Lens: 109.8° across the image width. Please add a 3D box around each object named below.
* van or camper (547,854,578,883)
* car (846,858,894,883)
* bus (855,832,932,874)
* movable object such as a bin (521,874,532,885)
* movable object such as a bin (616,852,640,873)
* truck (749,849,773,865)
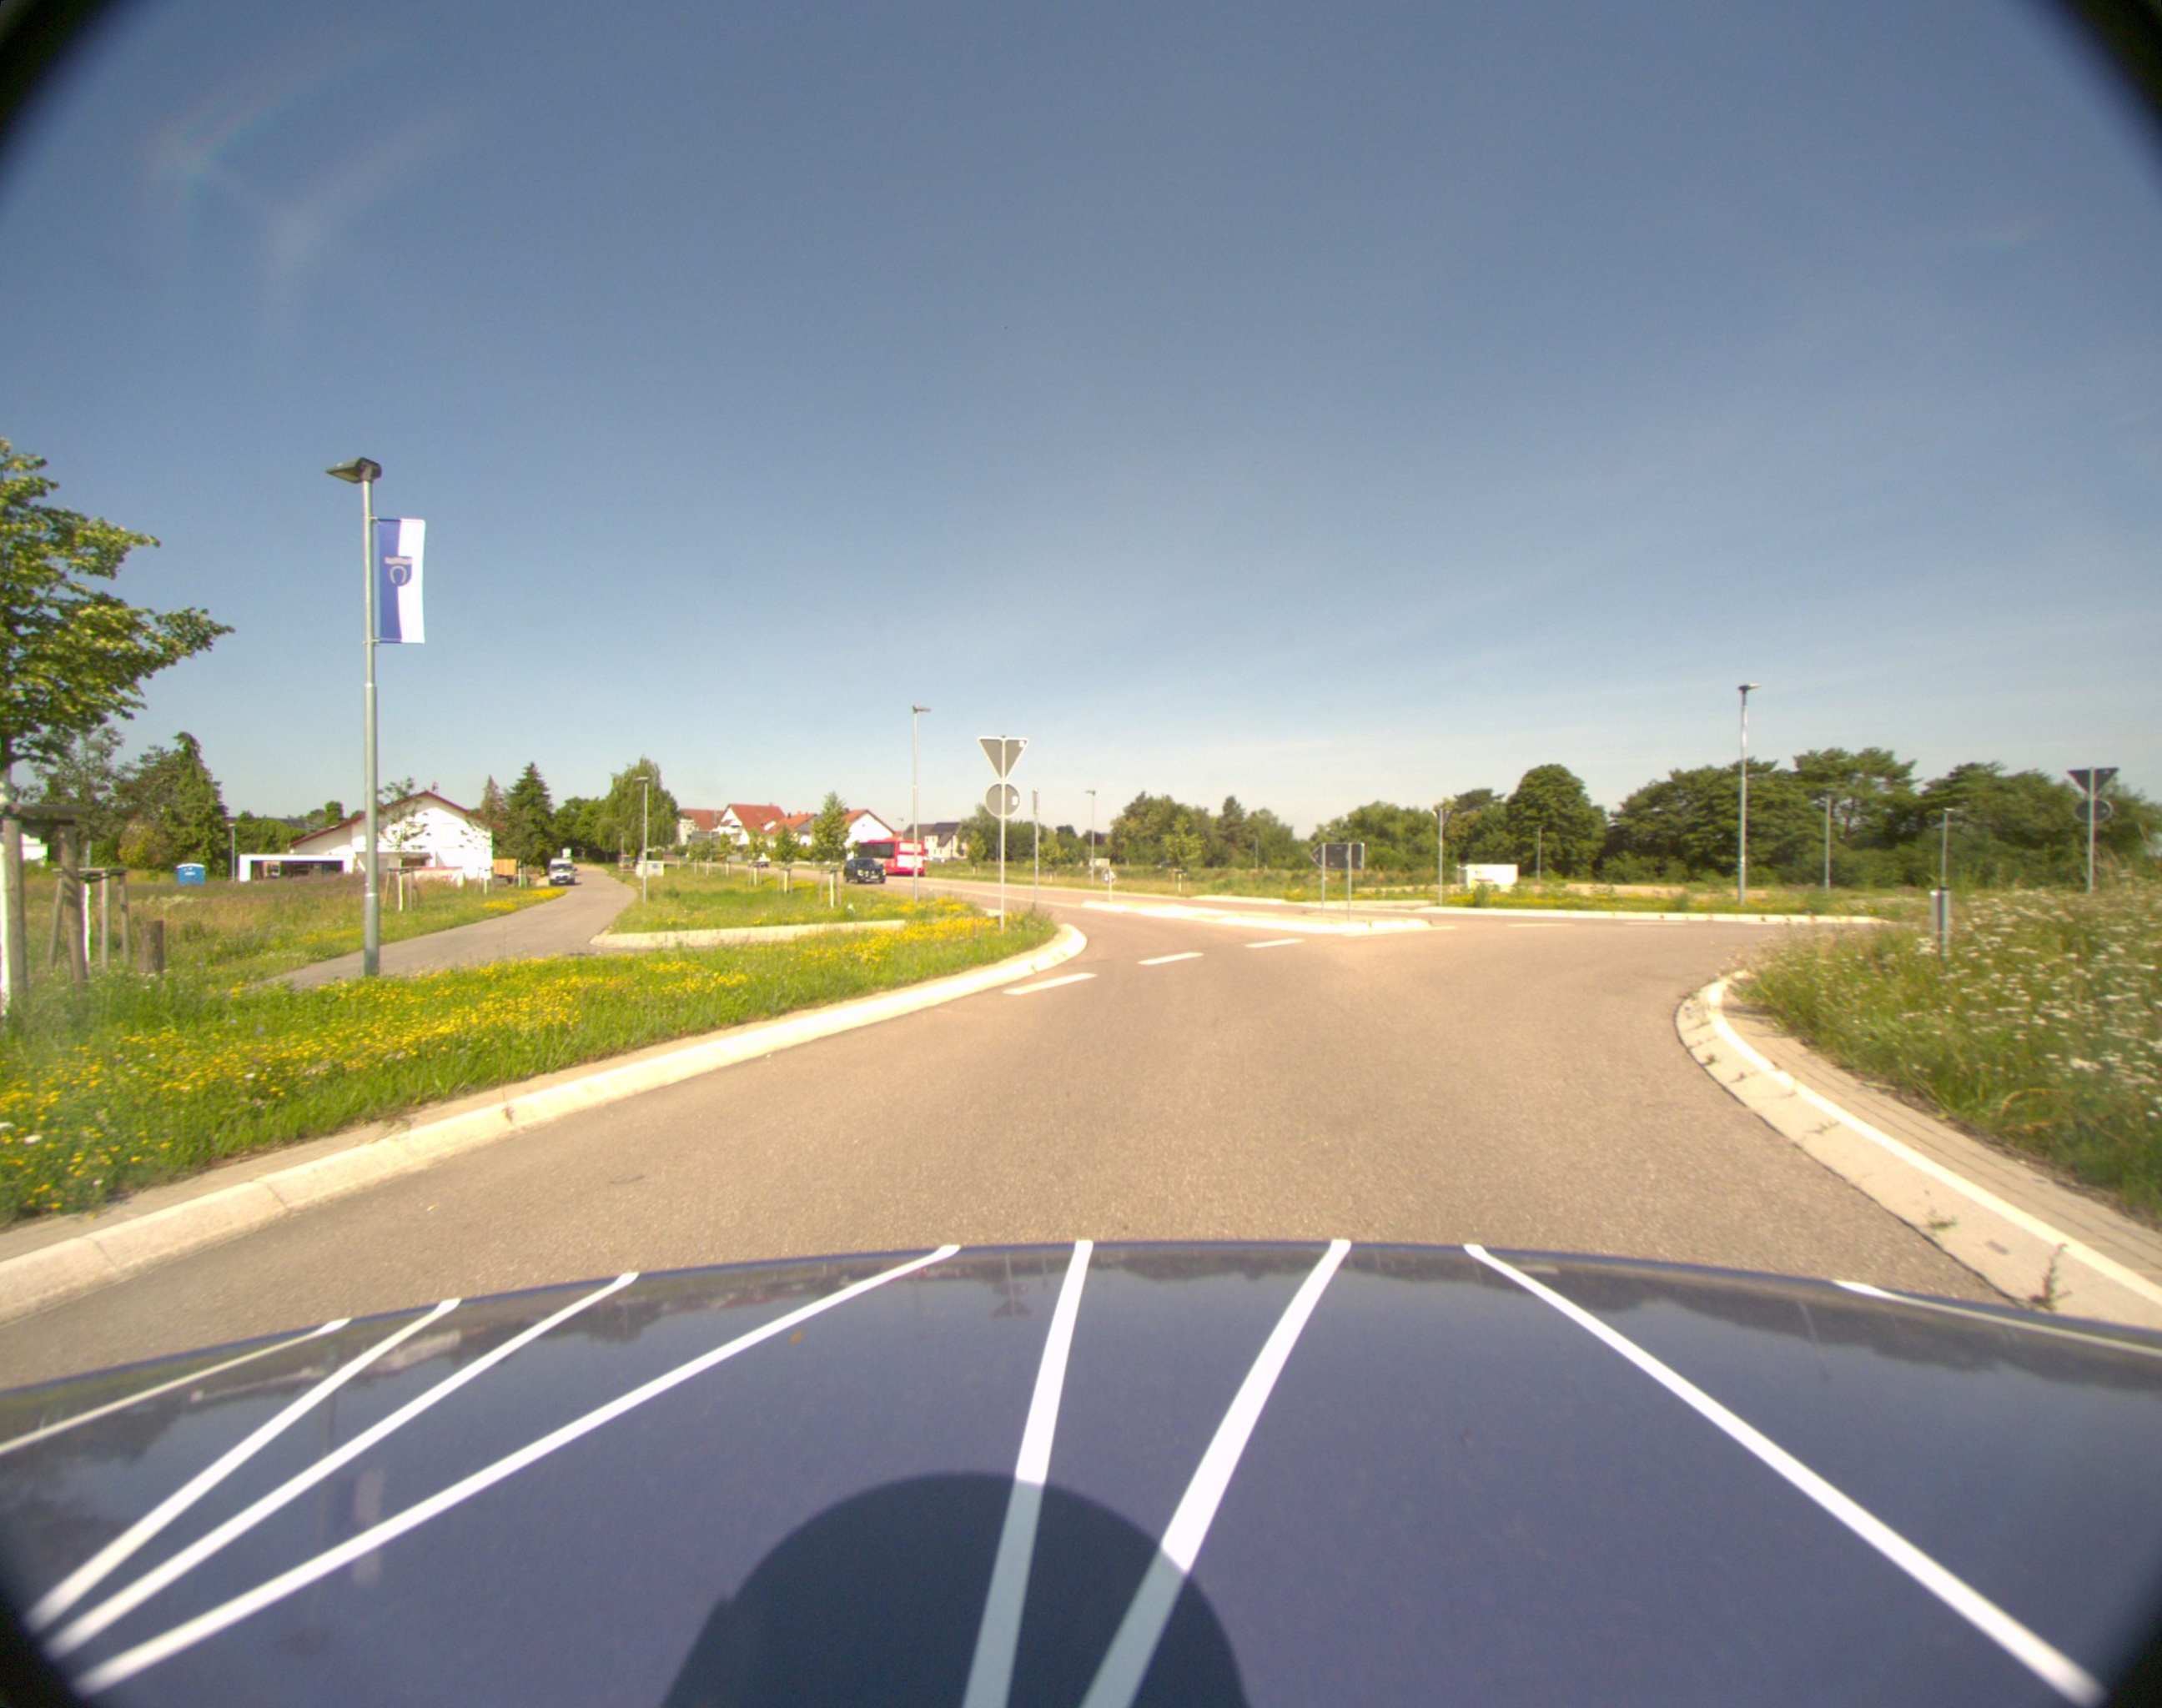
[{"bbox_3d":[-49.191,1.284,72.071,2.183,2.586,6.014,-2,1,-36],"label":"van or camper"},{"bbox_3d":[-13.843,1.051,49.719,1.938,1.552,3.990,0,-1,-34],"label":"car"},{"bbox_3d":[-16.694,-0.070,66.689,2.809,3.267,12.198,2,-1,-32],"label":"bus"},{"bbox_3d":[-49.740,2.299,68.201,0.695,0.932,0.637,-1,1,-28],"label":"movable object such as a bin"},{"bbox_3d":[-56.668,1.032,95.018,2.327,2.448,6.929,-3,0,-32],"label":"movable object such as a bin"},{"bbox_3d":[-42.324,0.422,100.470,1.961,1.973,5.629,-2,1,-33],"label":"truck"}]
